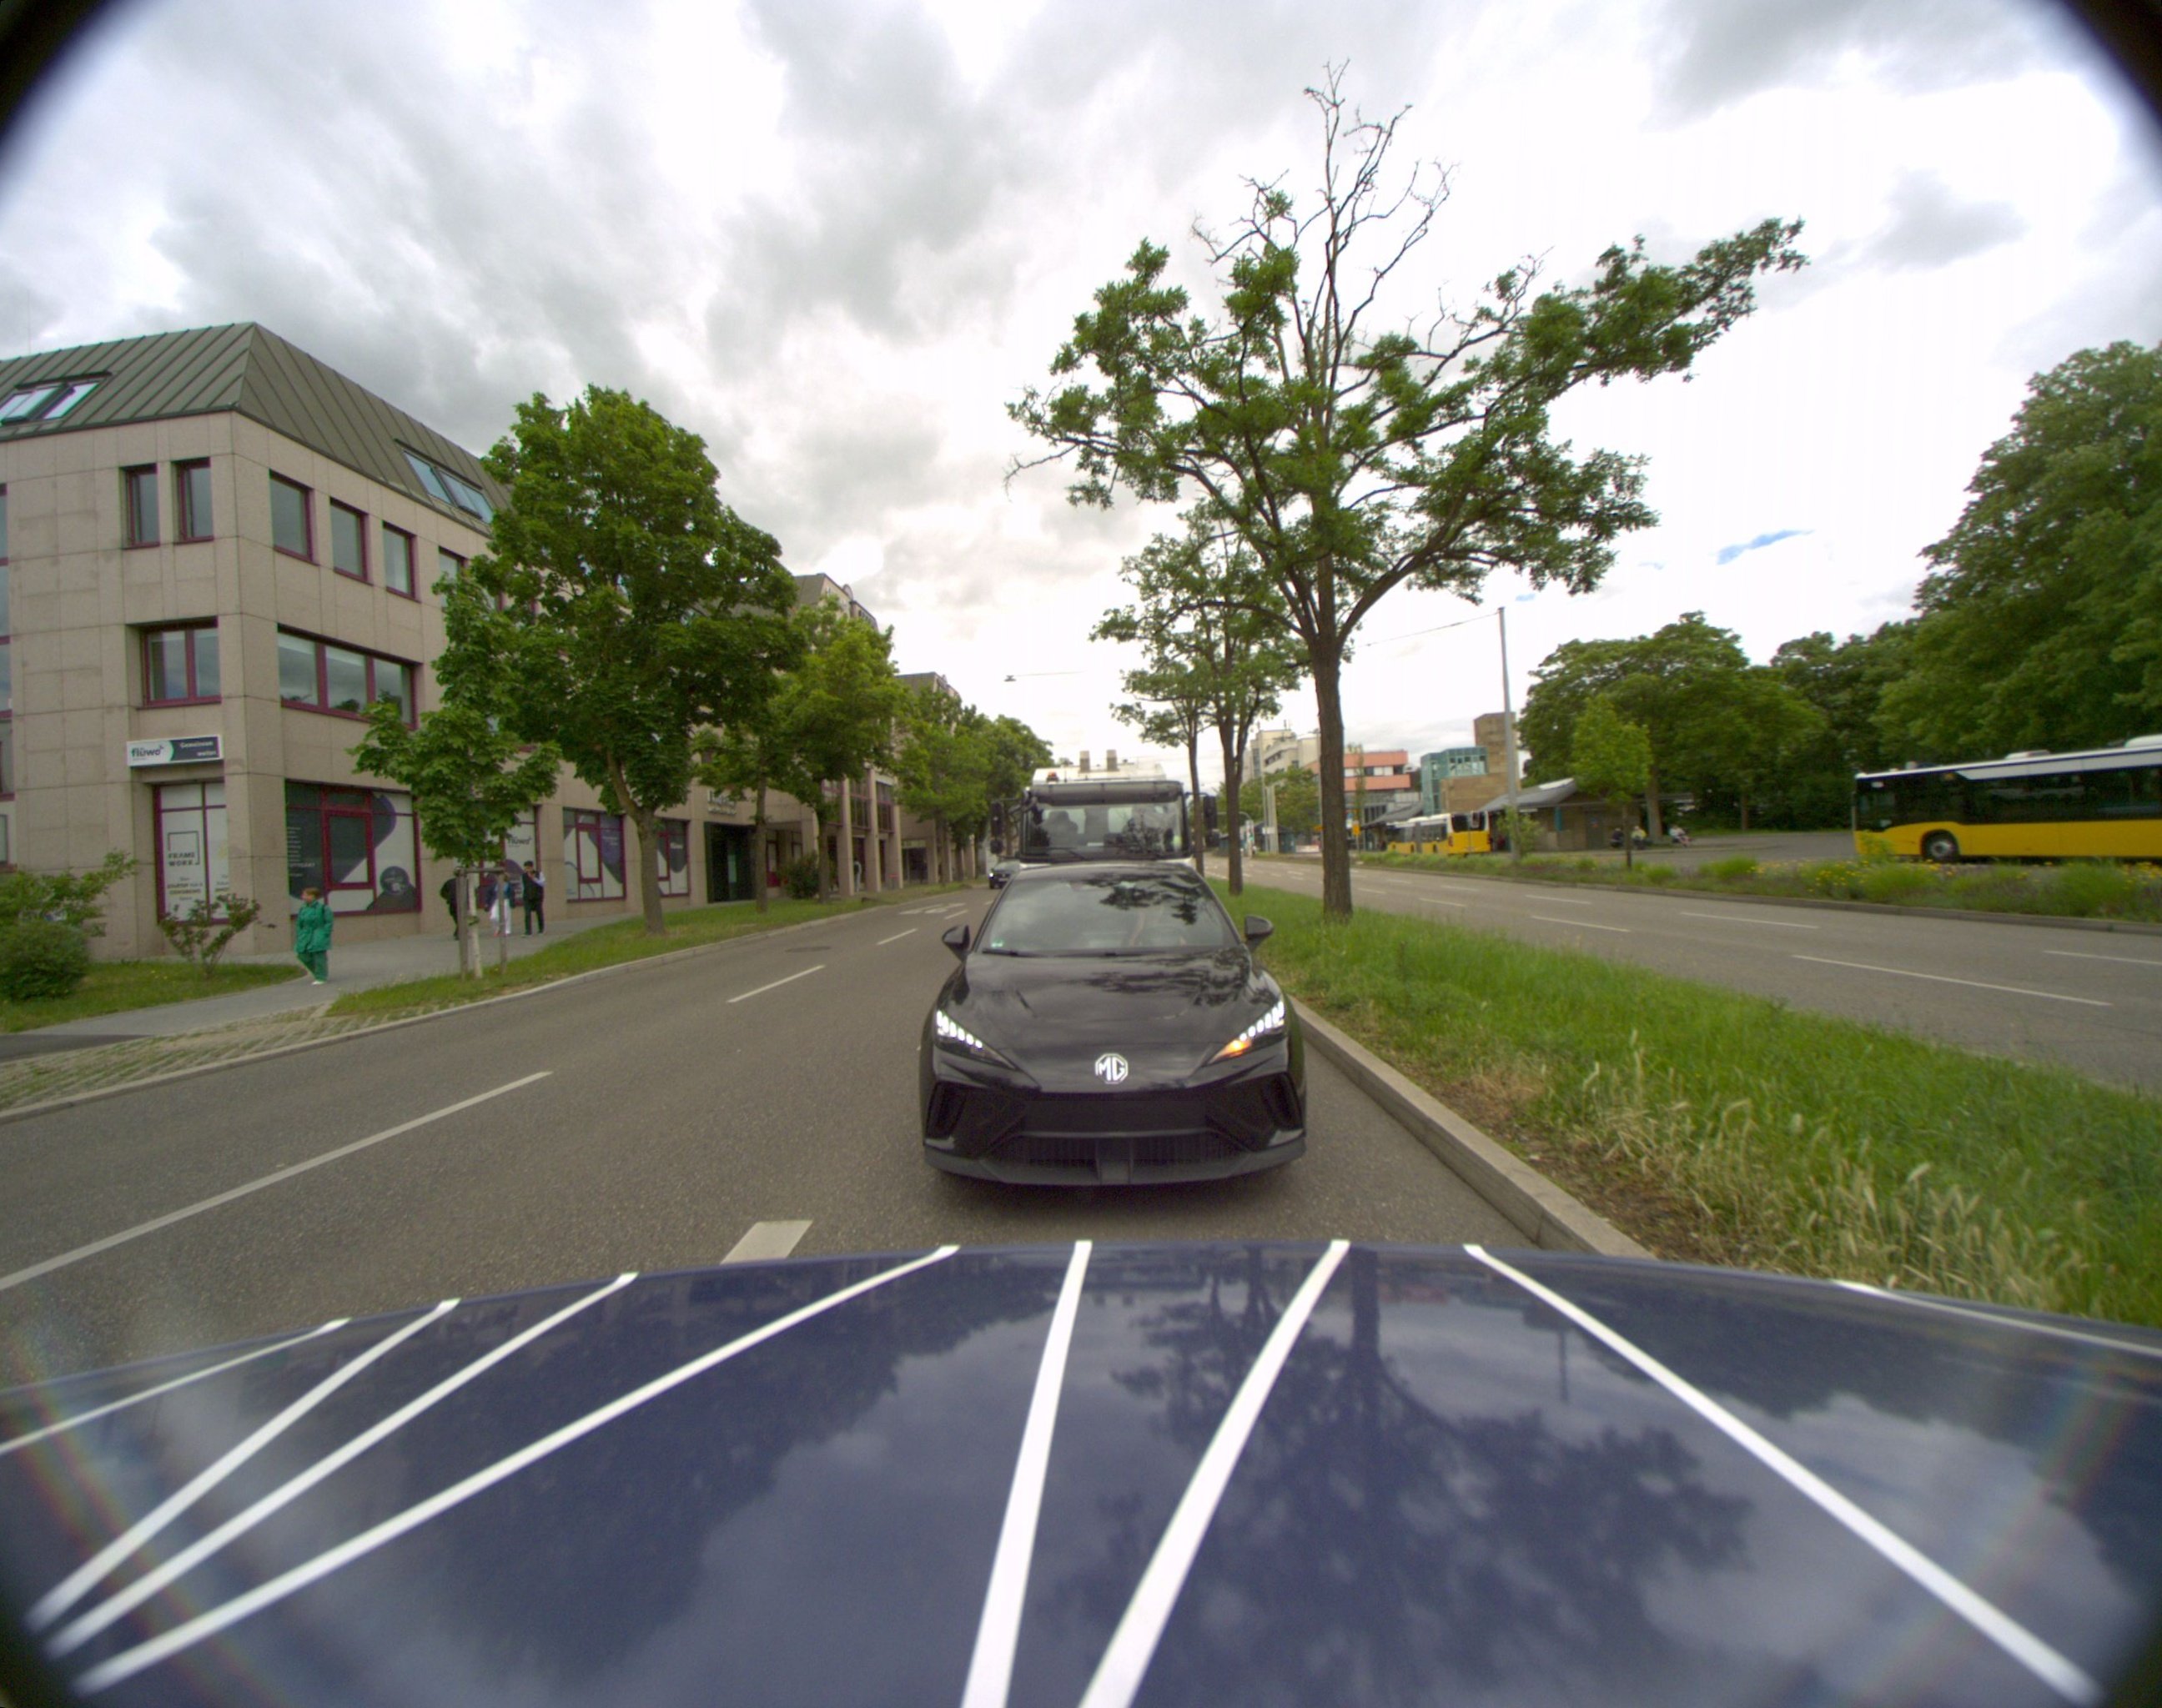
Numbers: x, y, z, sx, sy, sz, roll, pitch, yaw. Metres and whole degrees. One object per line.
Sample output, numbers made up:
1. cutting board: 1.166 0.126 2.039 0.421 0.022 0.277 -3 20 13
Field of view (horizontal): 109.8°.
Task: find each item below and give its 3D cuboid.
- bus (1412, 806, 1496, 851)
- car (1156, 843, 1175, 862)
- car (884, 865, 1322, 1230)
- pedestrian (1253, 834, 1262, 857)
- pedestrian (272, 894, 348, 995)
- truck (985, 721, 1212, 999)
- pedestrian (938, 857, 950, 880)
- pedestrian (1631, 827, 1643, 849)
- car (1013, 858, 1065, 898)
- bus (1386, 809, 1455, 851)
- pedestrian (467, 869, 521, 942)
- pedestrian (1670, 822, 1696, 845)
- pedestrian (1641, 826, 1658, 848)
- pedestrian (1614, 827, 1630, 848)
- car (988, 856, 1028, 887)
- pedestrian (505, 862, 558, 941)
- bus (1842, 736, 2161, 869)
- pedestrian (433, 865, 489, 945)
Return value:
1. bus: 26.041 -1.679 53.601 2.887 2.793 9.182 -3 0 11
2. car: 9.440 -0.156 84.905 1.726 2.002 4.001 -3 0 3
3. car: 0.122 0.866 5.277 1.827 1.430 4.000 -3 0 1
4. pedestrian: 21.550 -1.028 92.721 0.903 2.772 1.148 -2 1 13
5. pedestrian: -12.156 1.411 11.993 0.496 1.510 0.677 0 1 1
6. truck: 0.320 0.069 12.676 2.544 3.187 7.369 -3 0 2
7. pedestrian: -11.024 1.175 61.288 0.719 1.811 0.949 -2 1 1
8. pedestrian: 30.210 -0.890 41.297 0.367 1.160 0.899 -2 1 26
9. car: -1.706 0.965 31.821 1.609 1.460 3.676 -3 0 5
10. bus: 27.564 -1.869 62.166 2.887 2.985 9.182 -3 0 10
11. pedestrian: -13.799 1.196 17.883 0.642 1.637 0.677 -3 1 1
12. pedestrian: 31.954 -1.082 40.355 0.650 1.165 0.925 -2 1 1
13. pedestrian: 30.670 -0.905 41.021 0.598 1.155 0.744 -2 1 26
14. pedestrian: 30.719 -0.931 43.172 0.598 1.155 0.744 -2 1 26
15. car: -3.945 0.895 41.673 1.661 1.504 3.999 -2 1 1
16. pedestrian: -13.002 1.112 17.993 0.642 1.795 0.677 -3 1 1
17. bus: 25.928 -1.237 19.615 2.888 2.985 10.397 -3 0 6
18. pedestrian: -14.493 1.171 17.775 0.642 1.795 0.677 -3 1 1
